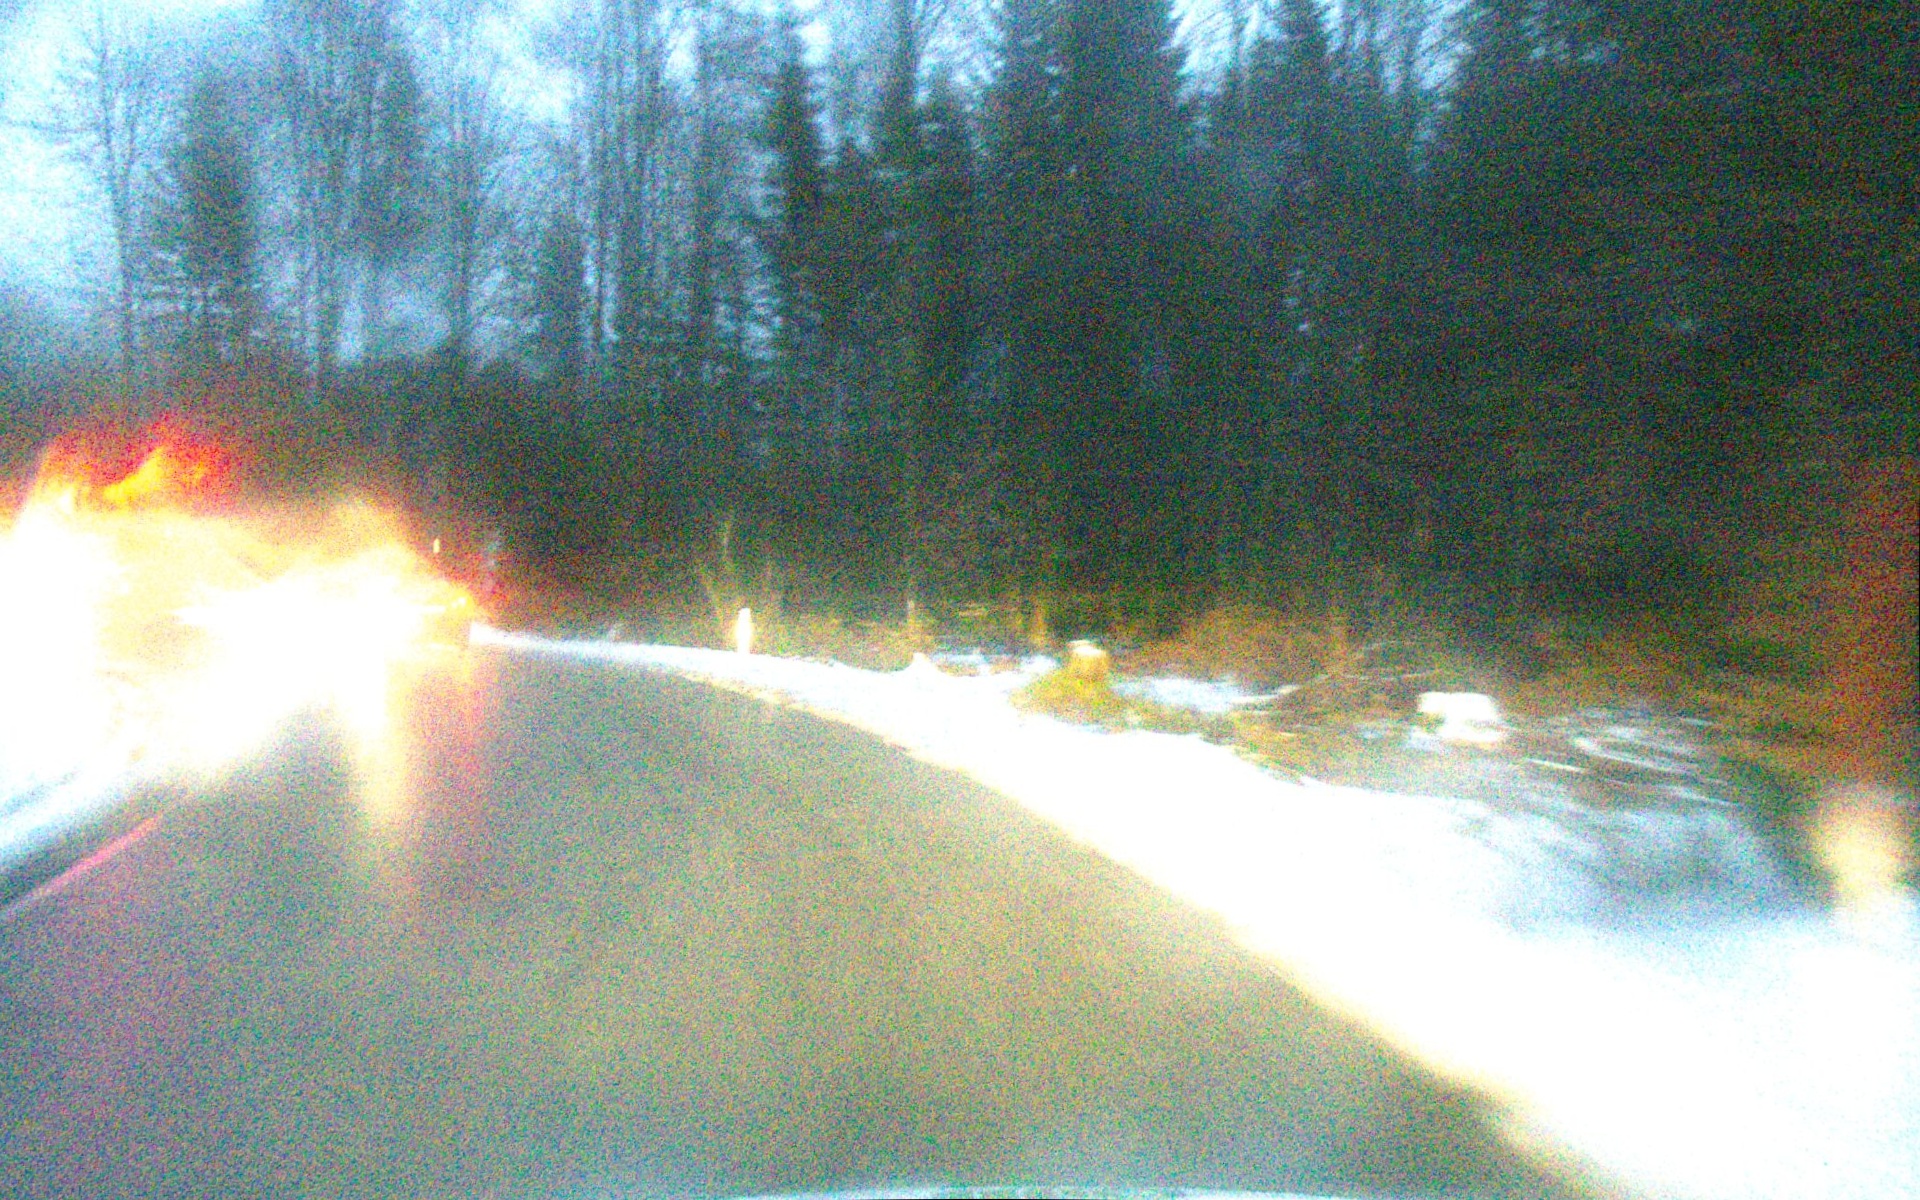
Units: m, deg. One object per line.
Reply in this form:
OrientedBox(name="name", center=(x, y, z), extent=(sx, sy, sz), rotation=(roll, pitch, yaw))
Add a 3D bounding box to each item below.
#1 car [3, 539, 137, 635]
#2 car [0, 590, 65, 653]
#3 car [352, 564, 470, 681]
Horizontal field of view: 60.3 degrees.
OrientedBox(name="car", center=(-26.564, -0.398, 49.296), extent=(2.243, 2.691, 4.925), rotation=(-2, 2, -44))
OrientedBox(name="car", center=(-25.691, 0.555, 44.505), extent=(1.765, 1.518, 4.479), rotation=(-4, 3, -42))
OrientedBox(name="car", center=(-10.894, 0.386, 32.638), extent=(1.965, 2.087, 3.975), rotation=(-2, 1, -21))
